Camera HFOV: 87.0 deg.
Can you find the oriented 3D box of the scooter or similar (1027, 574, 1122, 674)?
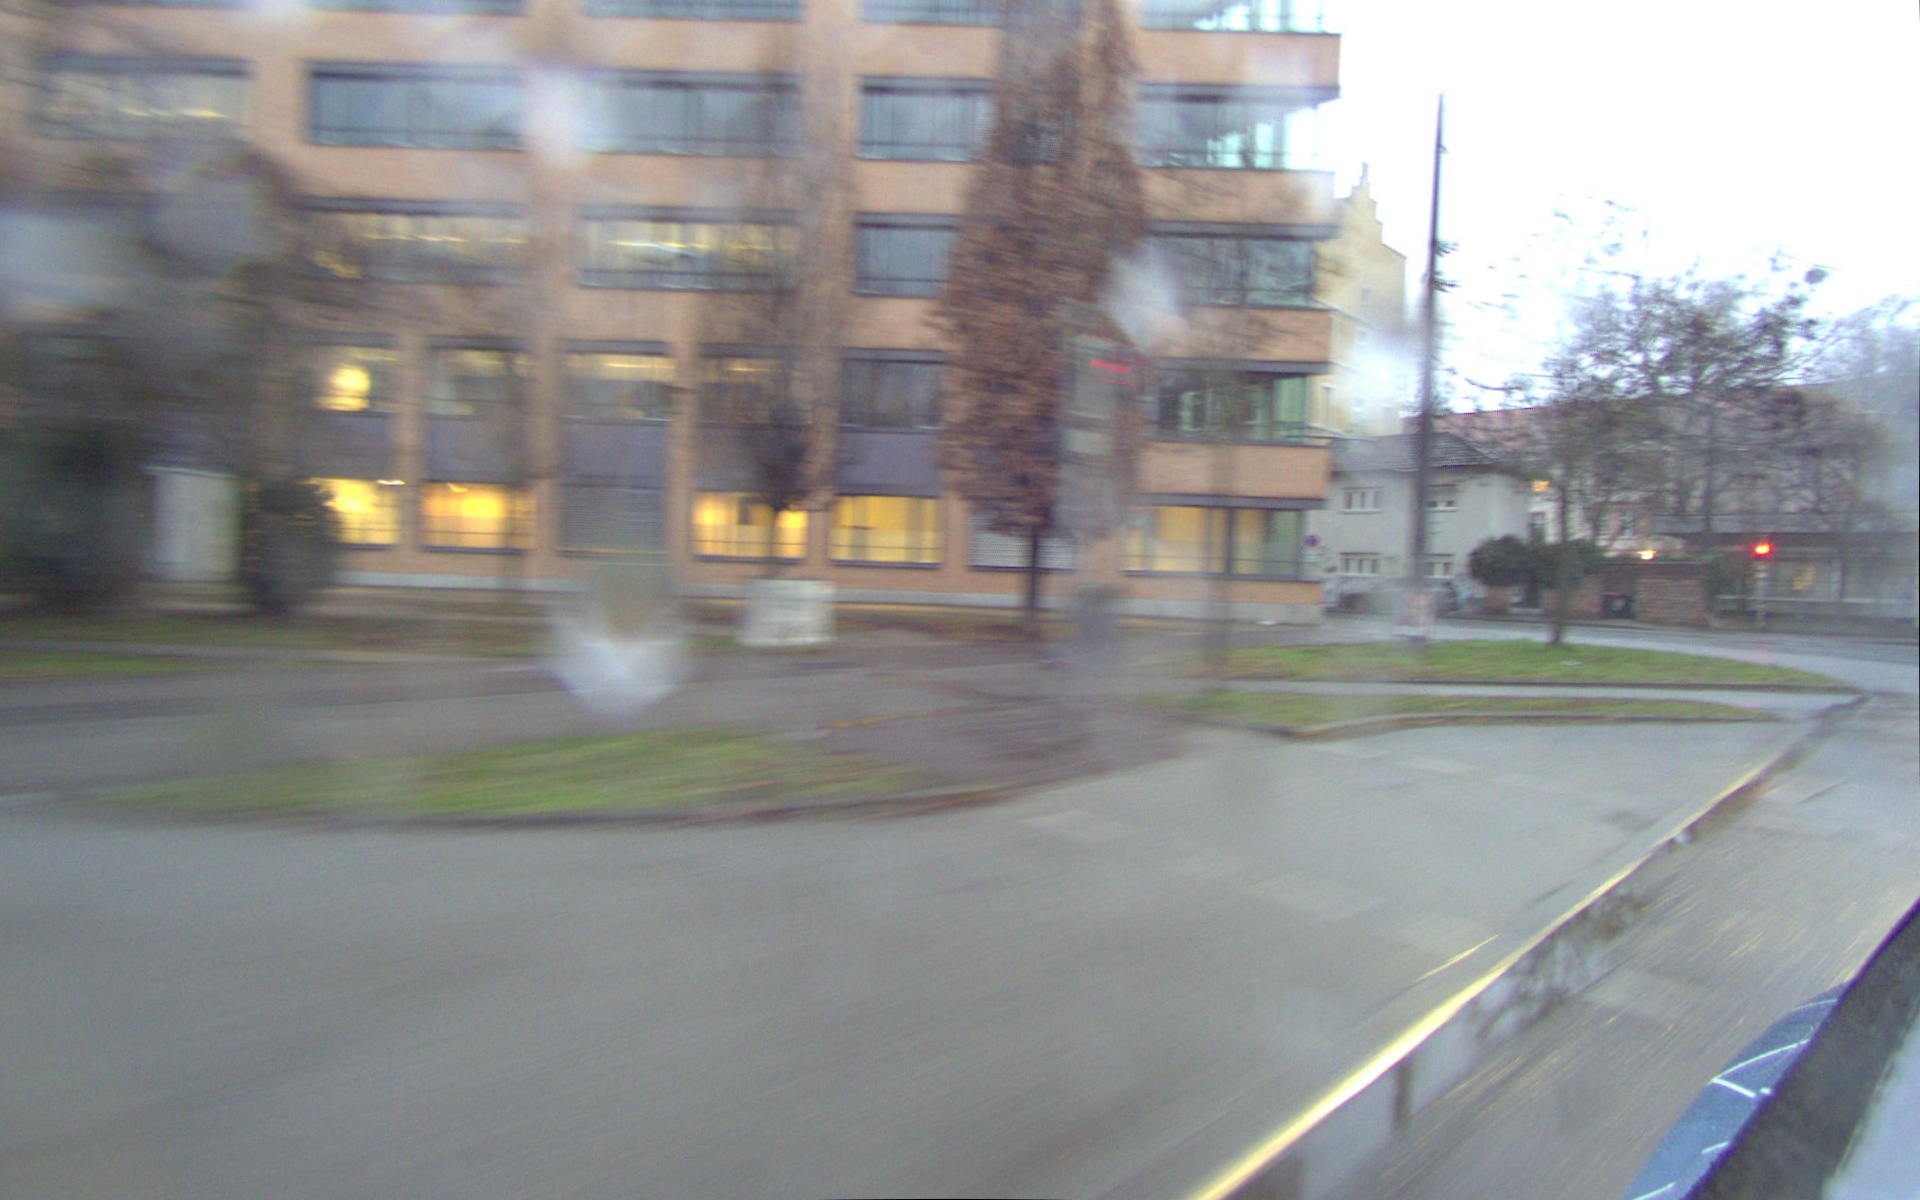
[{"bbox_3d":[1.523,0.297,13.516,1.136,1.247,0.482,3,2,31],"label":"scooter or similar"}]

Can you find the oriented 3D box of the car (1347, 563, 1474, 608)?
[{"bbox_3d":[19.091,-0.622,43.000,4.498,1.690,1.969,4,3,43],"label":"car"}]
